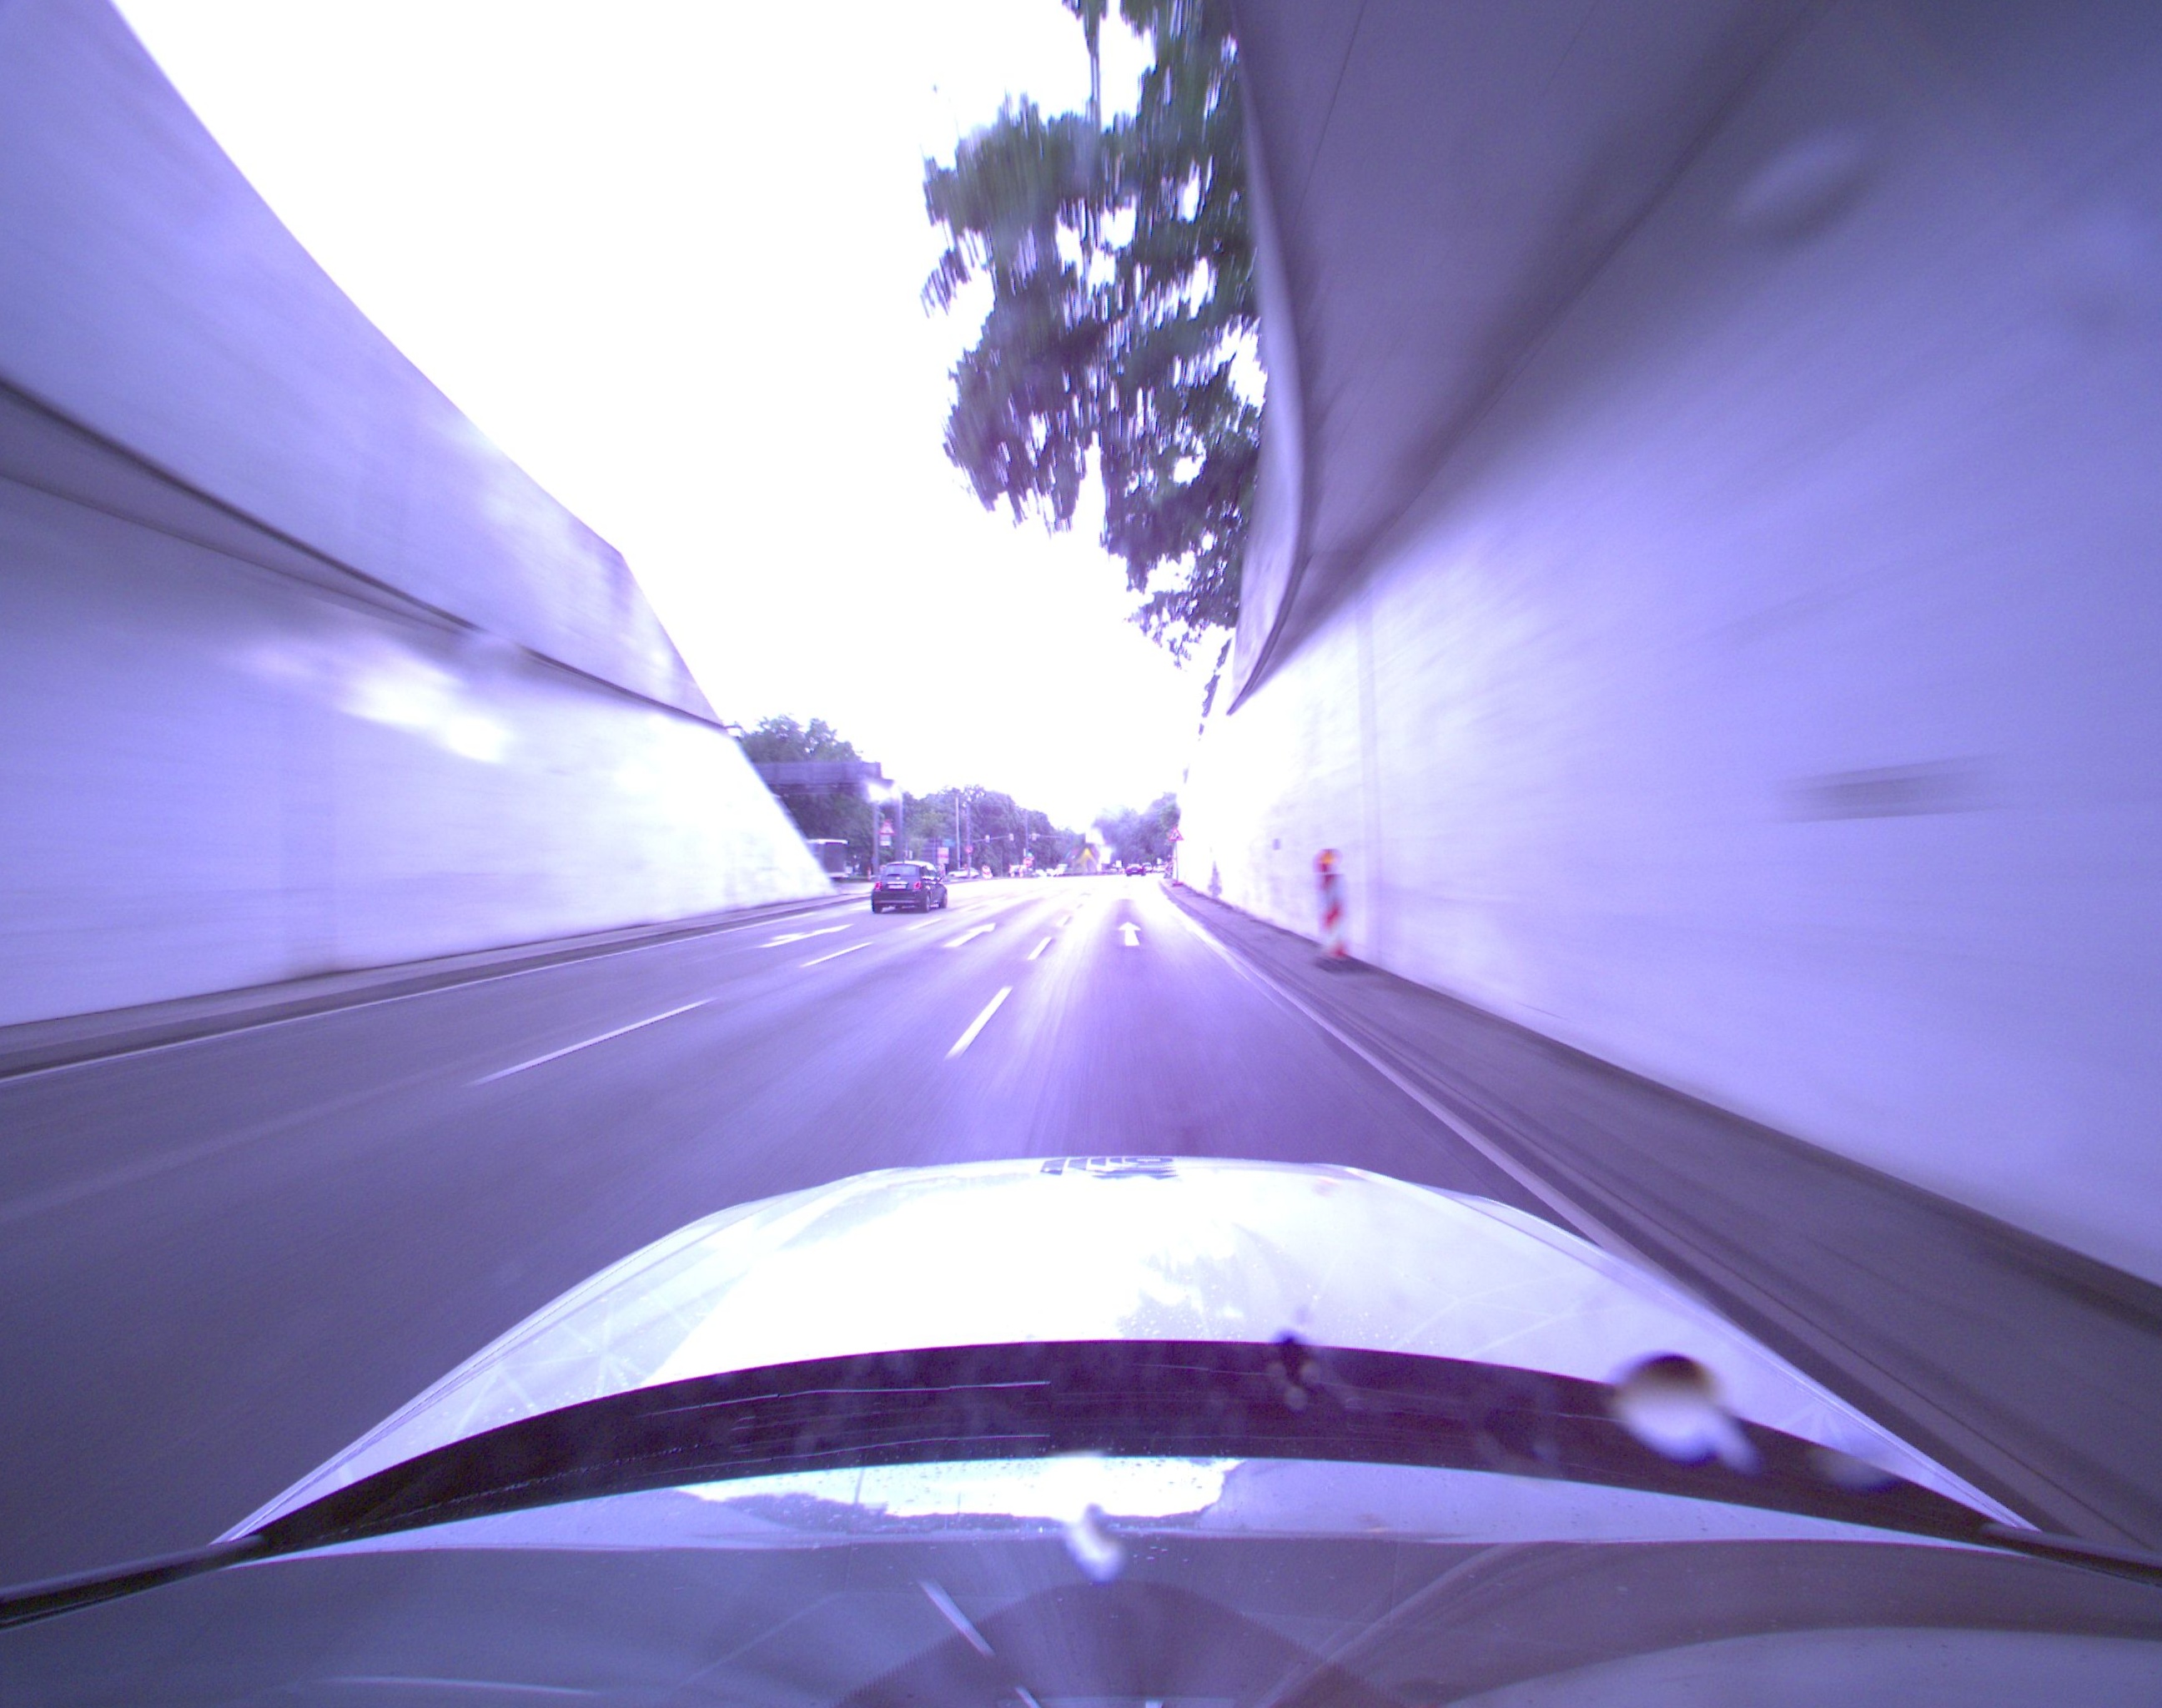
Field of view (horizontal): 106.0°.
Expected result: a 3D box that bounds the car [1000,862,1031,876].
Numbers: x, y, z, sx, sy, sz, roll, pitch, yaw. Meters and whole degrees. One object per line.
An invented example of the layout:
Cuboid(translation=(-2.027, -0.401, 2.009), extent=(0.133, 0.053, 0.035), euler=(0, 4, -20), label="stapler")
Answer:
Cuboid(translation=(-8.525, 1.954, 106.080), extent=(1.908, 1.684, 3.951), euler=(2, -1, -45), label="car")

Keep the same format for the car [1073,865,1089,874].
Cuboid(translation=(0.025, 2.665, 139.177), extent=(1.998, 1.301, 4.325), euler=(1, -2, 8), label="car")

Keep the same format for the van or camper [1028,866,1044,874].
Cuboid(translation=(-8.129, 2.906, 148.219), extent=(1.998, 1.301, 4.101), euler=(1, -2, 8), label="van or camper")

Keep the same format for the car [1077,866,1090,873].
Cuboid(translation=(0.510, 2.873, 150.866), extent=(1.999, 1.301, 4.321), euler=(1, -2, 5), label="car")

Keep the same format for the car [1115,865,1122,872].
Cuboid(translation=(11.078, 4.442, 242.719), extent=(1.986, 2.014, 4.000), euler=(1, -1, 1), label="car")

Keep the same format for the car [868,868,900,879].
Cuboid(translation=(-27.506, 2.739, 113.873), extent=(3.969, 1.514, 1.900), euler=(0, 0, 3), label="car")

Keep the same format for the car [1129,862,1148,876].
Cuboid(translation=(6.167, 1.646, 87.605), extent=(1.985, 1.448, 4.317), euler=(1, -2, 3), label="car")

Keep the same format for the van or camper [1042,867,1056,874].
Cuboid(translation=(-6.266, 3.310, 161.878), extent=(1.998, 1.301, 4.101), euler=(1, -2, 8), label="van or camper")

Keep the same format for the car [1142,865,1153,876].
Cuboid(translation=(13.031, 3.187, 159.500), extent=(1.986, 2.014, 4.000), euler=(1, -1, 1), label="car")

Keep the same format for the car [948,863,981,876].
Cuboid(translation=(-15.964, 2.067, 111.608), extent=(3.957, 1.684, 1.906), euler=(0, 0, 15), label="car")

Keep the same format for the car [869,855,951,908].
Cuboid(translation=(-5.103, 0.782, 24.702), extent=(1.606, 1.454, 3.574), euler=(0, 0, 2), label="car")

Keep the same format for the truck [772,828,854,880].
Cuboid(translation=(-18.118, 0.032, 55.644), extent=(2.785, 3.276, 7.154), euler=(1, 0, 4), label="truck")
